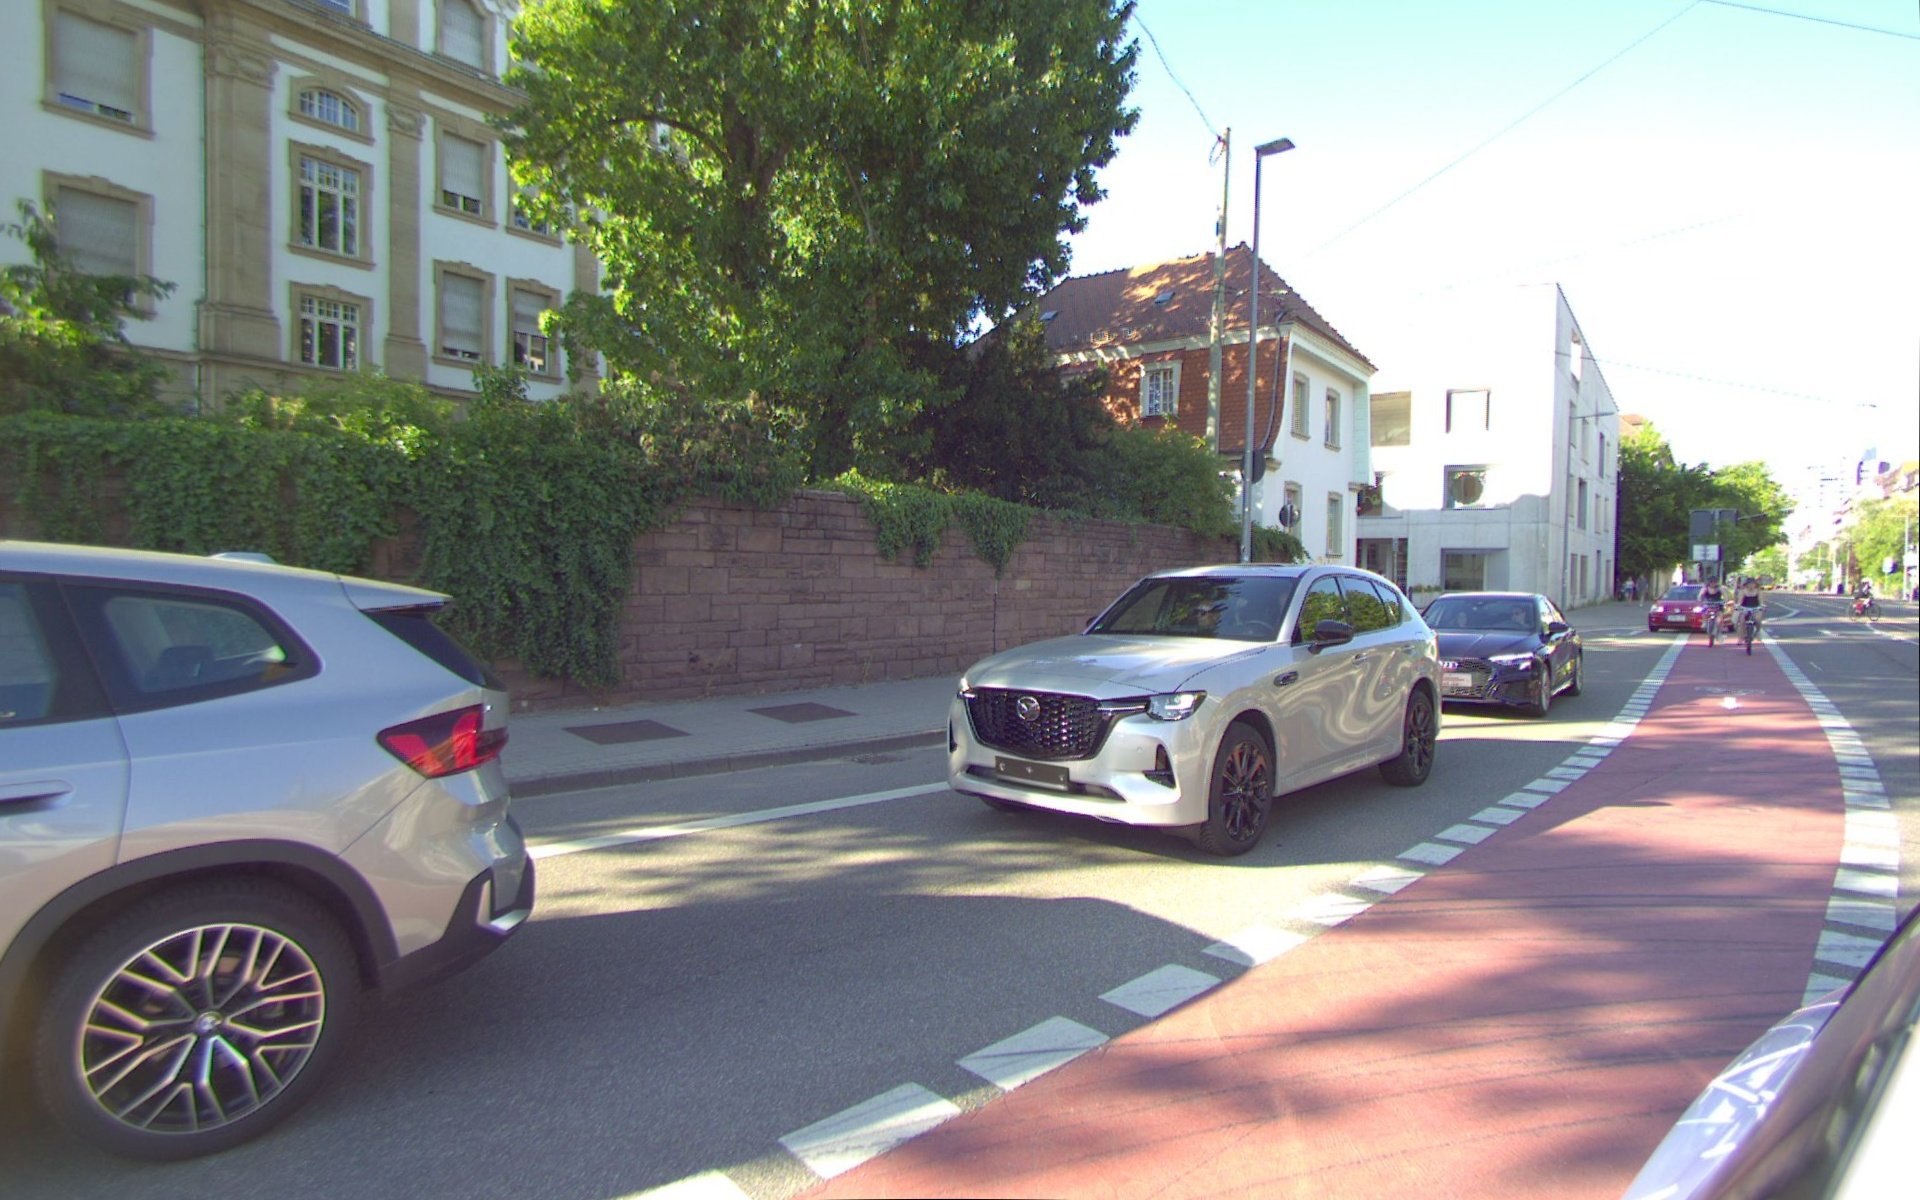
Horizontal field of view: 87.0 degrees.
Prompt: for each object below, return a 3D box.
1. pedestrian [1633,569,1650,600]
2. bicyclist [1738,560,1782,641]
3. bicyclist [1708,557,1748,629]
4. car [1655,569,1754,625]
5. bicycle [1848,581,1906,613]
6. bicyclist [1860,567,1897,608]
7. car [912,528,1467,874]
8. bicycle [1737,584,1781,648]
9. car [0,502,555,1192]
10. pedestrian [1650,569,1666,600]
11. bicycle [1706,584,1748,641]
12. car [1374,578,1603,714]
[{"bbox_3d":[37.959,-0.865,56.372,0.672,1.668,0.806,1,1,40],"label":"pedestrian"},{"bbox_3d":[17.110,0.000,21.642,0.673,1.667,1.014,2,2,40],"label":"bicyclist"},{"bbox_3d":[18.217,-0.185,23.995,0.673,1.667,1.014,2,2,40],"label":"bicyclist"},{"bbox_3d":[22.722,-0.115,30.852,3.586,1.580,1.648,-1,1,-41],"label":"car"},{"bbox_3d":[37.807,-0.131,41.713,2.405,1.265,0.678,0,2,-20],"label":"bicycle"},{"bbox_3d":[37.879,-0.525,41.726,1.007,1.667,0.677,0,2,-19],"label":"bicyclist"},{"bbox_3d":[1.918,0.465,7.310,1.940,1.713,4.461,0,1,43],"label":"car"},{"bbox_3d":[17.176,0.310,21.740,0.673,1.265,2.422,2,2,39],"label":"bicycle"},{"bbox_3d":[-3.476,0.582,2.588,4.247,1.614,1.792,-1,0,-36],"label":"car"},{"bbox_3d":[38.610,-0.866,55.982,0.672,1.668,0.806,1,1,40],"label":"pedestrian"},{"bbox_3d":[18.237,0.255,24.033,0.673,1.265,2.422,2,2,39],"label":"bicycle"},{"bbox_3d":[6.848,0.465,12.920,1.781,1.451,3.942,0,1,40],"label":"car"}]
